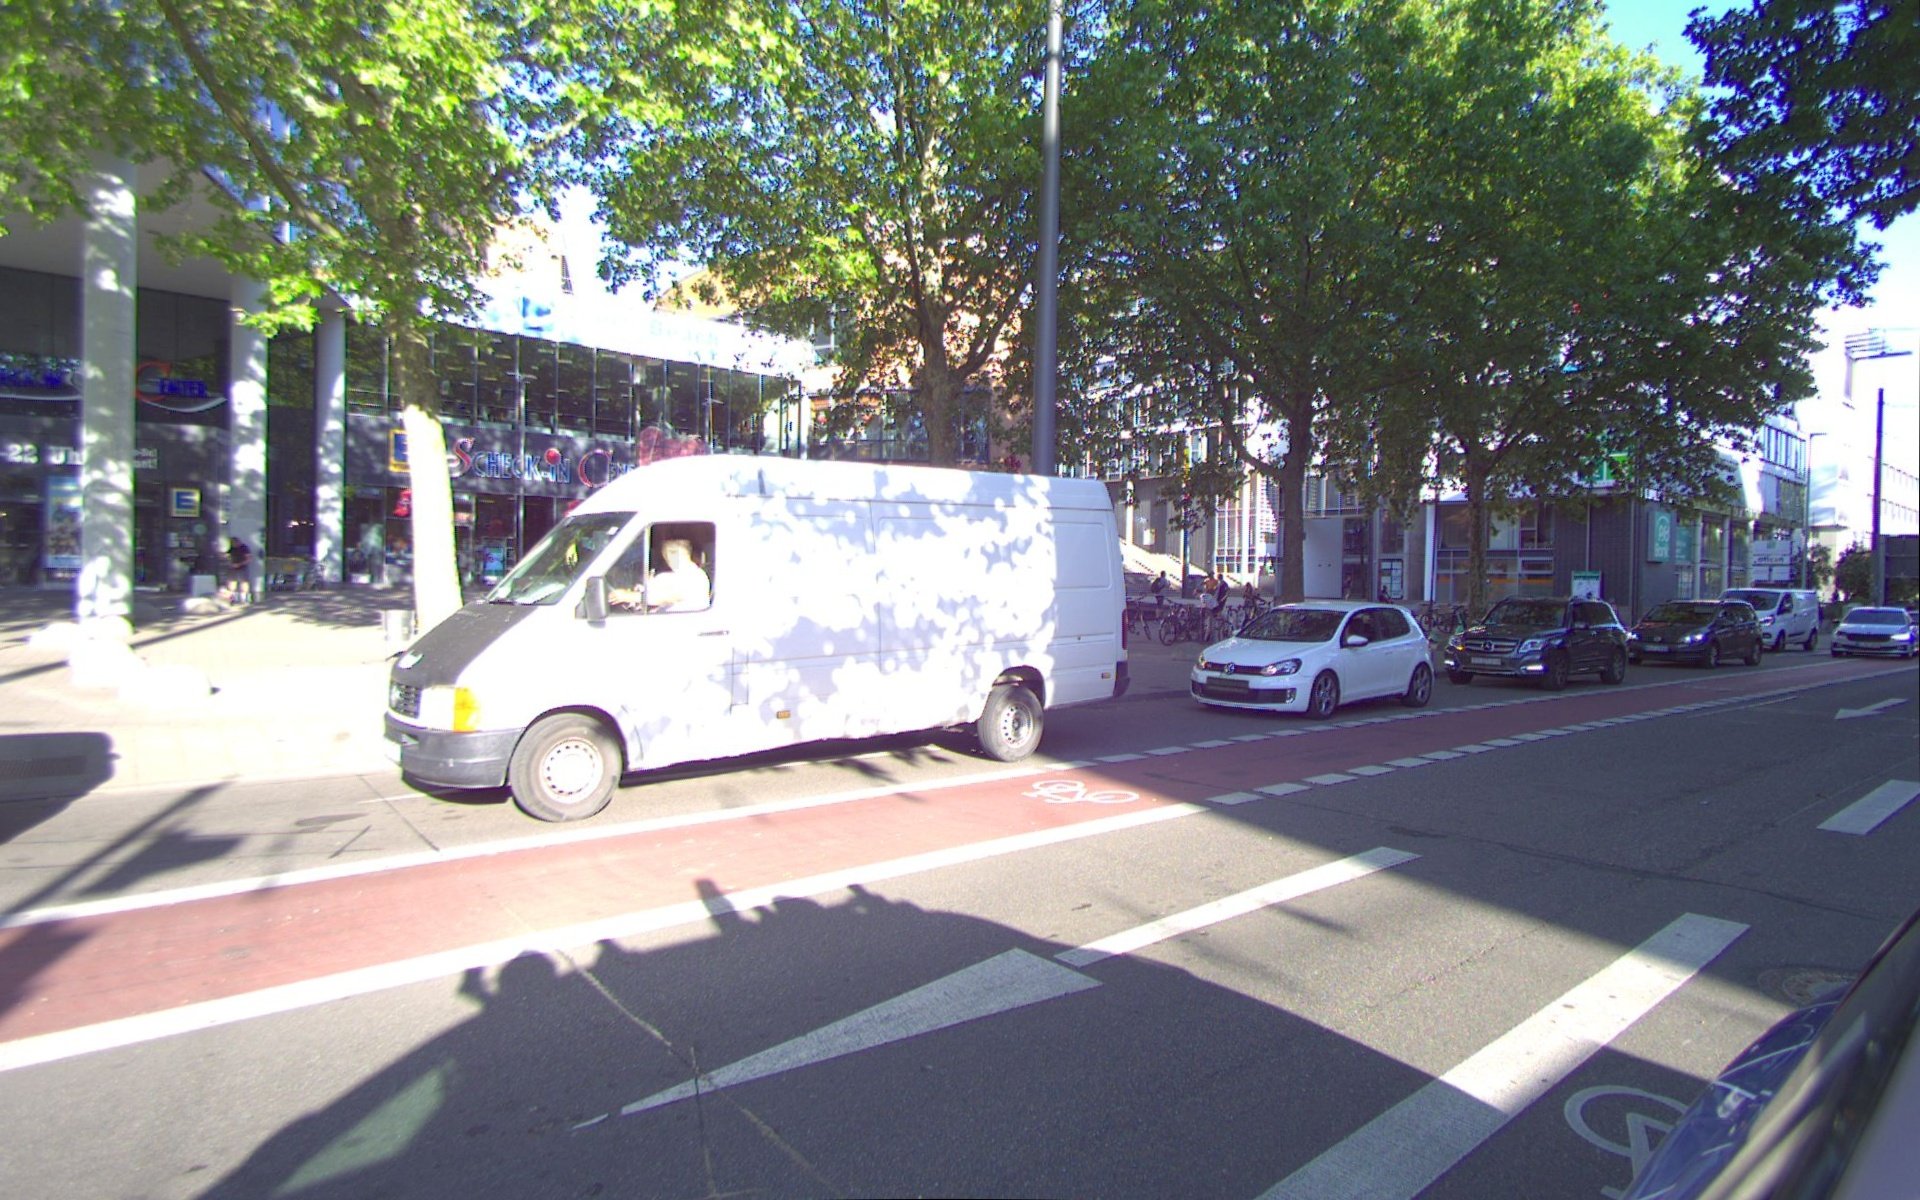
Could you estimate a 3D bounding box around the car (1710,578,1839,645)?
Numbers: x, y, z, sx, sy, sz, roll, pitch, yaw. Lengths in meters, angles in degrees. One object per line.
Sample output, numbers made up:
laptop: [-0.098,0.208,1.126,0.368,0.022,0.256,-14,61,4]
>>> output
car: [26.432,0.330,32.762,5.809,1.989,1.933,0,0,-38]

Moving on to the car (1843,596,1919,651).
car: [27.248,0.638,29.651,1.832,1.508,4.128,1,1,45]

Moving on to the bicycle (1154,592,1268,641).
bicycle: [6.574,0.407,26.783,1.124,1.097,3.342,0,2,-23]

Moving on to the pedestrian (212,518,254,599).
pedestrian: [-18.791,-1.053,26.184,0.843,2.039,1.024,0,0,-34]

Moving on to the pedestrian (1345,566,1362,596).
pedestrian: [26.749,-1.311,68.792,0.860,2.039,0.796,0,0,-41]

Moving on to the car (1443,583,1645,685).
car: [10.685,0.544,18.412,4.172,1.656,1.769,0,0,-38]

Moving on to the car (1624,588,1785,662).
car: [18.259,0.560,24.762,4.304,1.656,1.712,0,0,-32]

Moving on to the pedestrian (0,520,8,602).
pedestrian: [-22.696,-0.904,23.247,0.857,1.912,0.813,1,2,2]

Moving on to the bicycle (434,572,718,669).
bicycle: [-5.412,0.232,14.557,3.744,1.236,0.758,-2,1,-35]

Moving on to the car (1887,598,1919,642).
car: [34.259,0.688,35.701,4.121,1.508,1.834,0,-1,-41]

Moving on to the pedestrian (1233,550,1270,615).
pedestrian: [10.168,-0.606,35.297,0.884,2.261,0.845,0,0,-19]

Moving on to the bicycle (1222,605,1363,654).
bicycle: [7.697,0.656,23.455,3.136,1.038,0.979,0,0,-18]

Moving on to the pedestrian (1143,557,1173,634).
pedestrian: [7.032,-0.173,35.925,0.967,2.681,0.897,0,0,18]

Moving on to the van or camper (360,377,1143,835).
van or camper: [-1.298,0.004,8.677,6.383,2.647,2.004,0,1,-40]

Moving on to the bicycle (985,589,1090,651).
bicycle: [1.586,0.378,20.460,2.263,1.177,0.671,-1,0,-39]

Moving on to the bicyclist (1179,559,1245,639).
bicyclist: [6.629,-0.047,26.672,1.132,2.039,1.301,0,1,-24]

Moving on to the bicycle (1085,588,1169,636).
bicycle: [4.505,0.294,27.118,2.653,1.215,0.698,-1,1,-41]

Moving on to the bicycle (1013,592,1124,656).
bicycle: [2.165,0.437,19.930,2.355,1.177,0.750,-1,0,-40]

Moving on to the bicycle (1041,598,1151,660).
bicycle: [2.585,0.514,19.061,2.295,1.073,0.682,-1,1,-39]

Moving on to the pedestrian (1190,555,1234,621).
pedestrian: [8.735,-0.414,35.150,1.195,2.276,1.052,0,0,-3]

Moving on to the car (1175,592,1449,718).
car: [4.789,0.630,13.550,3.914,1.446,1.639,0,0,-38]
